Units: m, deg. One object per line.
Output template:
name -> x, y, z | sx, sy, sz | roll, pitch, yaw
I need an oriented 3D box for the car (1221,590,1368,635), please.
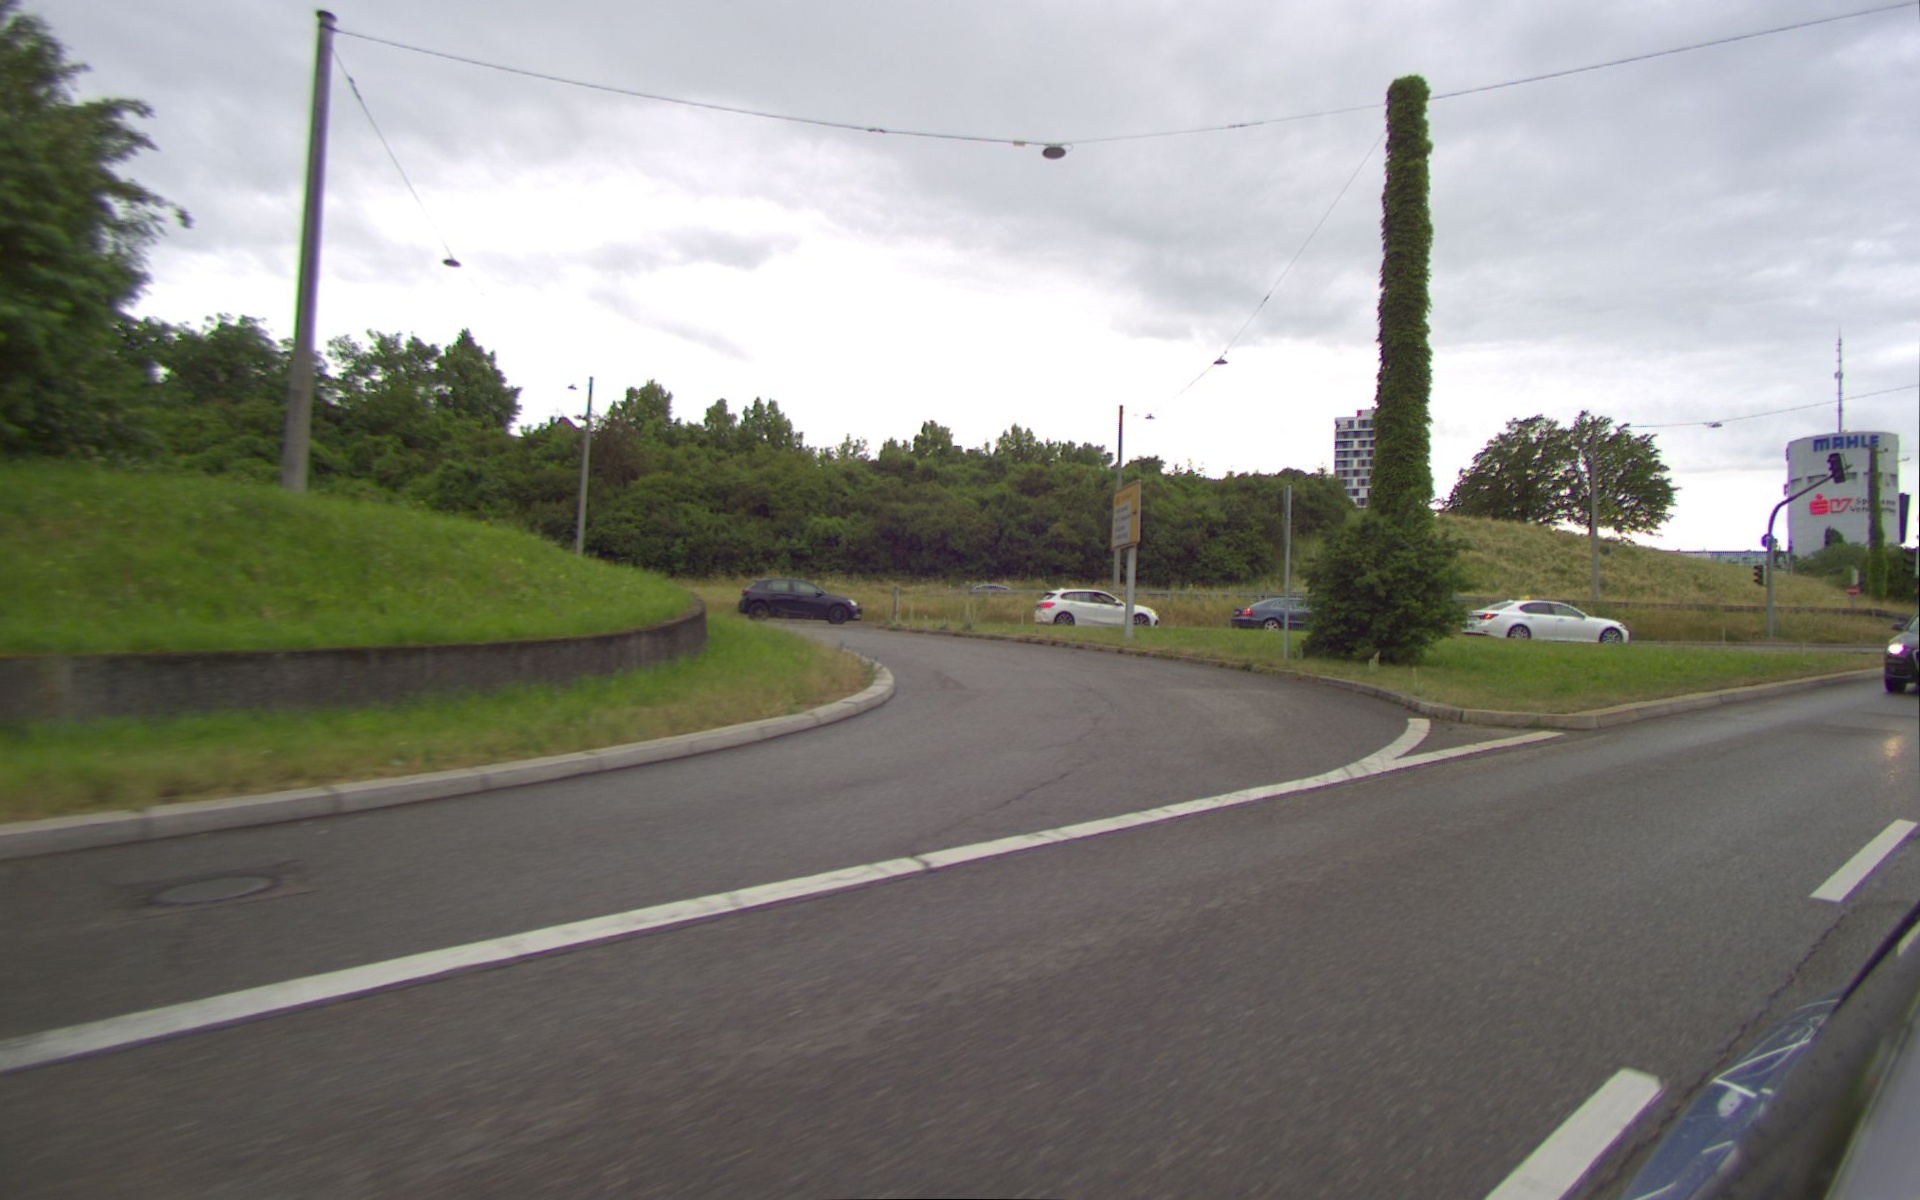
car -> 11.602, 0.442, 35.263 | 4.463, 1.368, 1.845 | 2, -1, -4

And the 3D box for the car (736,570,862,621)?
car -> -5.165, -0.127, 32.373 | 3.836, 1.432, 1.678 | 2, -1, -11

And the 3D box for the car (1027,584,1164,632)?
car -> 4.583, 0.271, 34.638 | 4.185, 1.447, 2.077 | 2, -1, -6

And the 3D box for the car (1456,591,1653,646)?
car -> 18.576, 0.578, 31.811 | 4.897, 1.666, 2.074 | 0, -1, 2

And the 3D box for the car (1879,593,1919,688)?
car -> 18.499, 0.718, 18.280 | 4.197, 1.621, 1.929 | 1, -1, -35
